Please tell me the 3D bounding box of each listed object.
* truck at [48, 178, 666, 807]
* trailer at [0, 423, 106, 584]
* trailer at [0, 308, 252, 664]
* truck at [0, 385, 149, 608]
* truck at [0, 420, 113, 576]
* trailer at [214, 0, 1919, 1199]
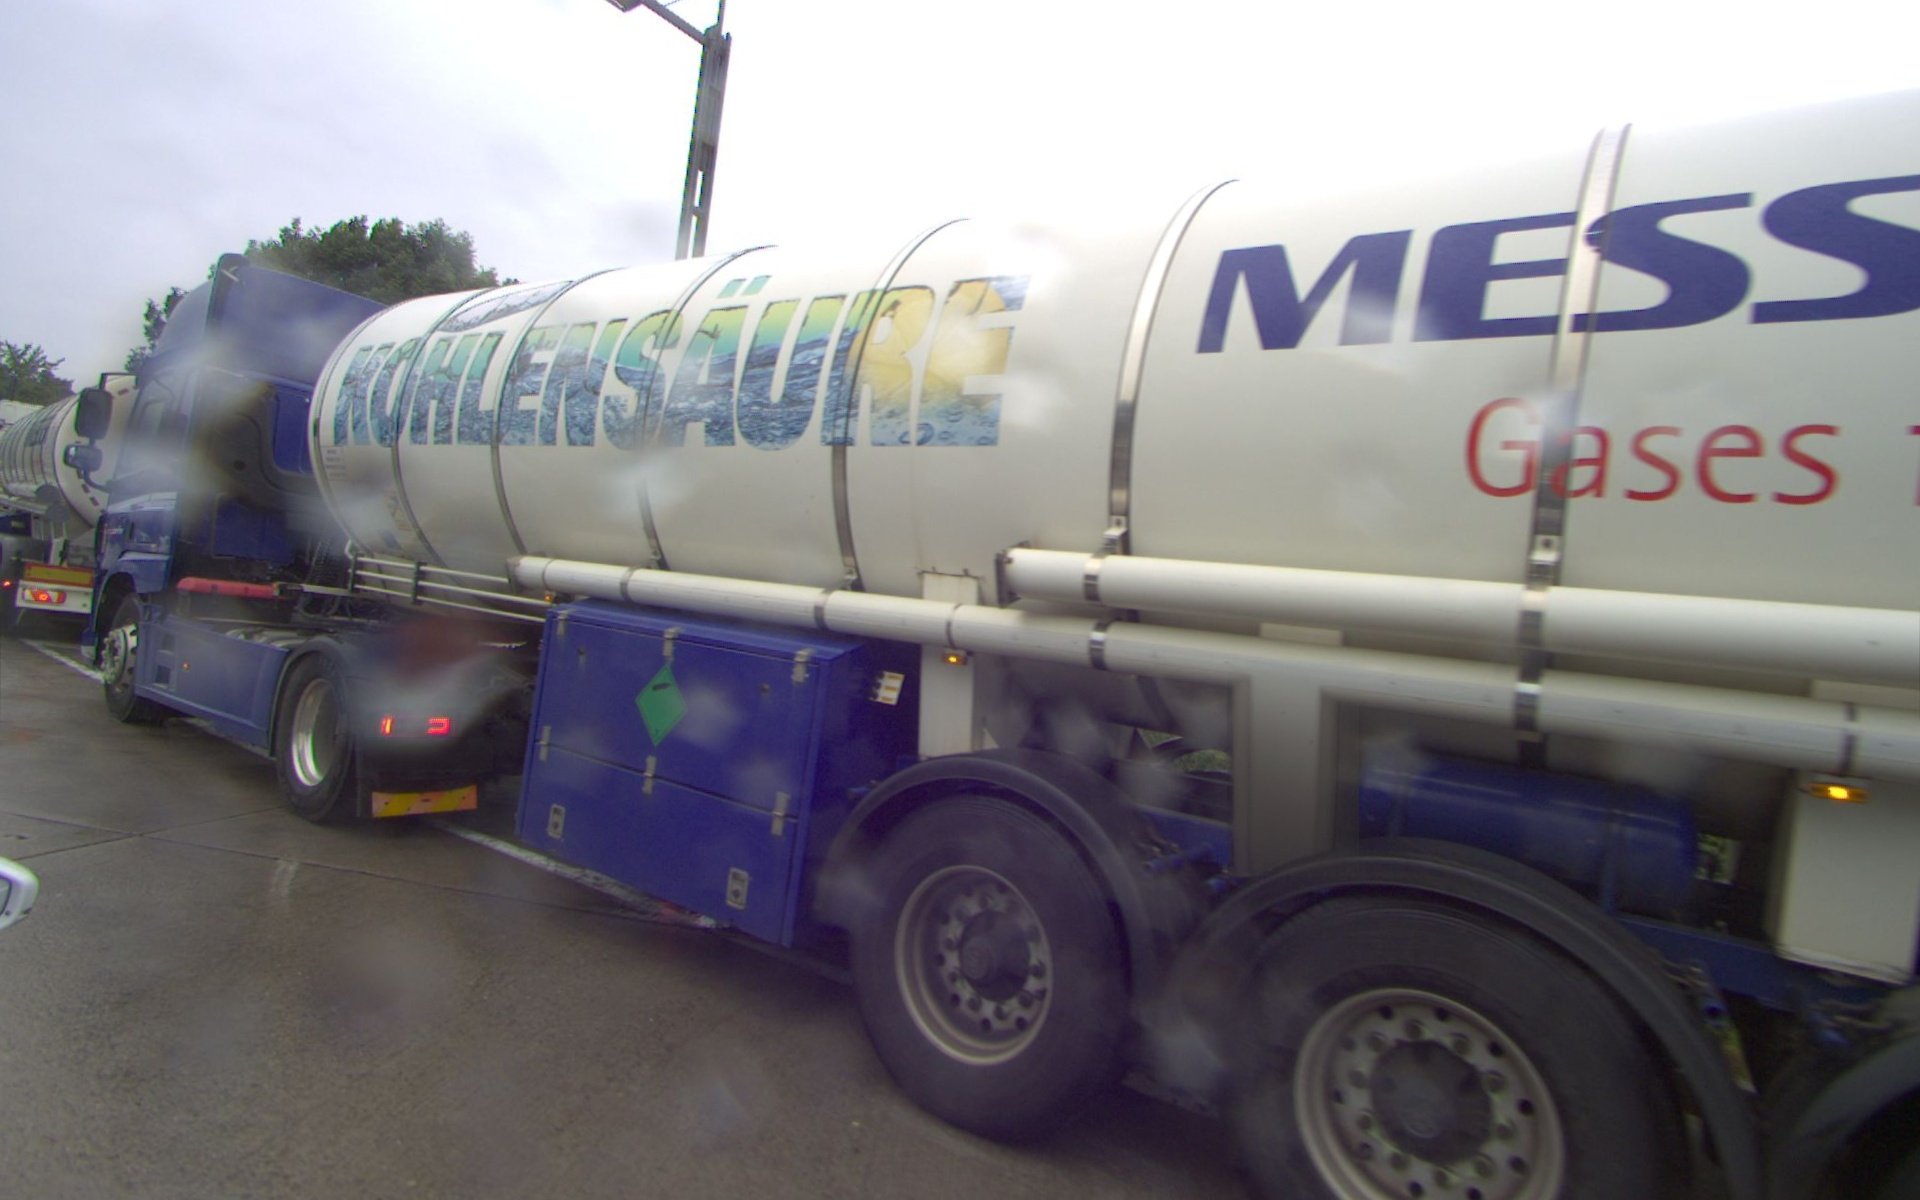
[{"bbox_3d":[-4.846,-0.687,7.849,4.672,3.571,2.055,6,-2,35],"label":"truck"},{"bbox_3d":[-23.739,-2.417,25.745,2.173,3.431,7.486,8,-2,-38],"label":"trailer"},{"bbox_3d":[-12.778,-1.445,14.576,2.127,3.480,10.123,9,-2,-45],"label":"trailer"},{"bbox_3d":[-17.411,-1.900,19.269,2.142,3.553,4.588,9,-2,-45],"label":"truck"},{"bbox_3d":[-26.174,-2.826,28.953,2.171,3.872,4.099,8,-2,-38],"label":"truck"},{"bbox_3d":[0.098,-0.044,4.356,10.160,3.261,1.983,6,-2,35],"label":"trailer"}]
